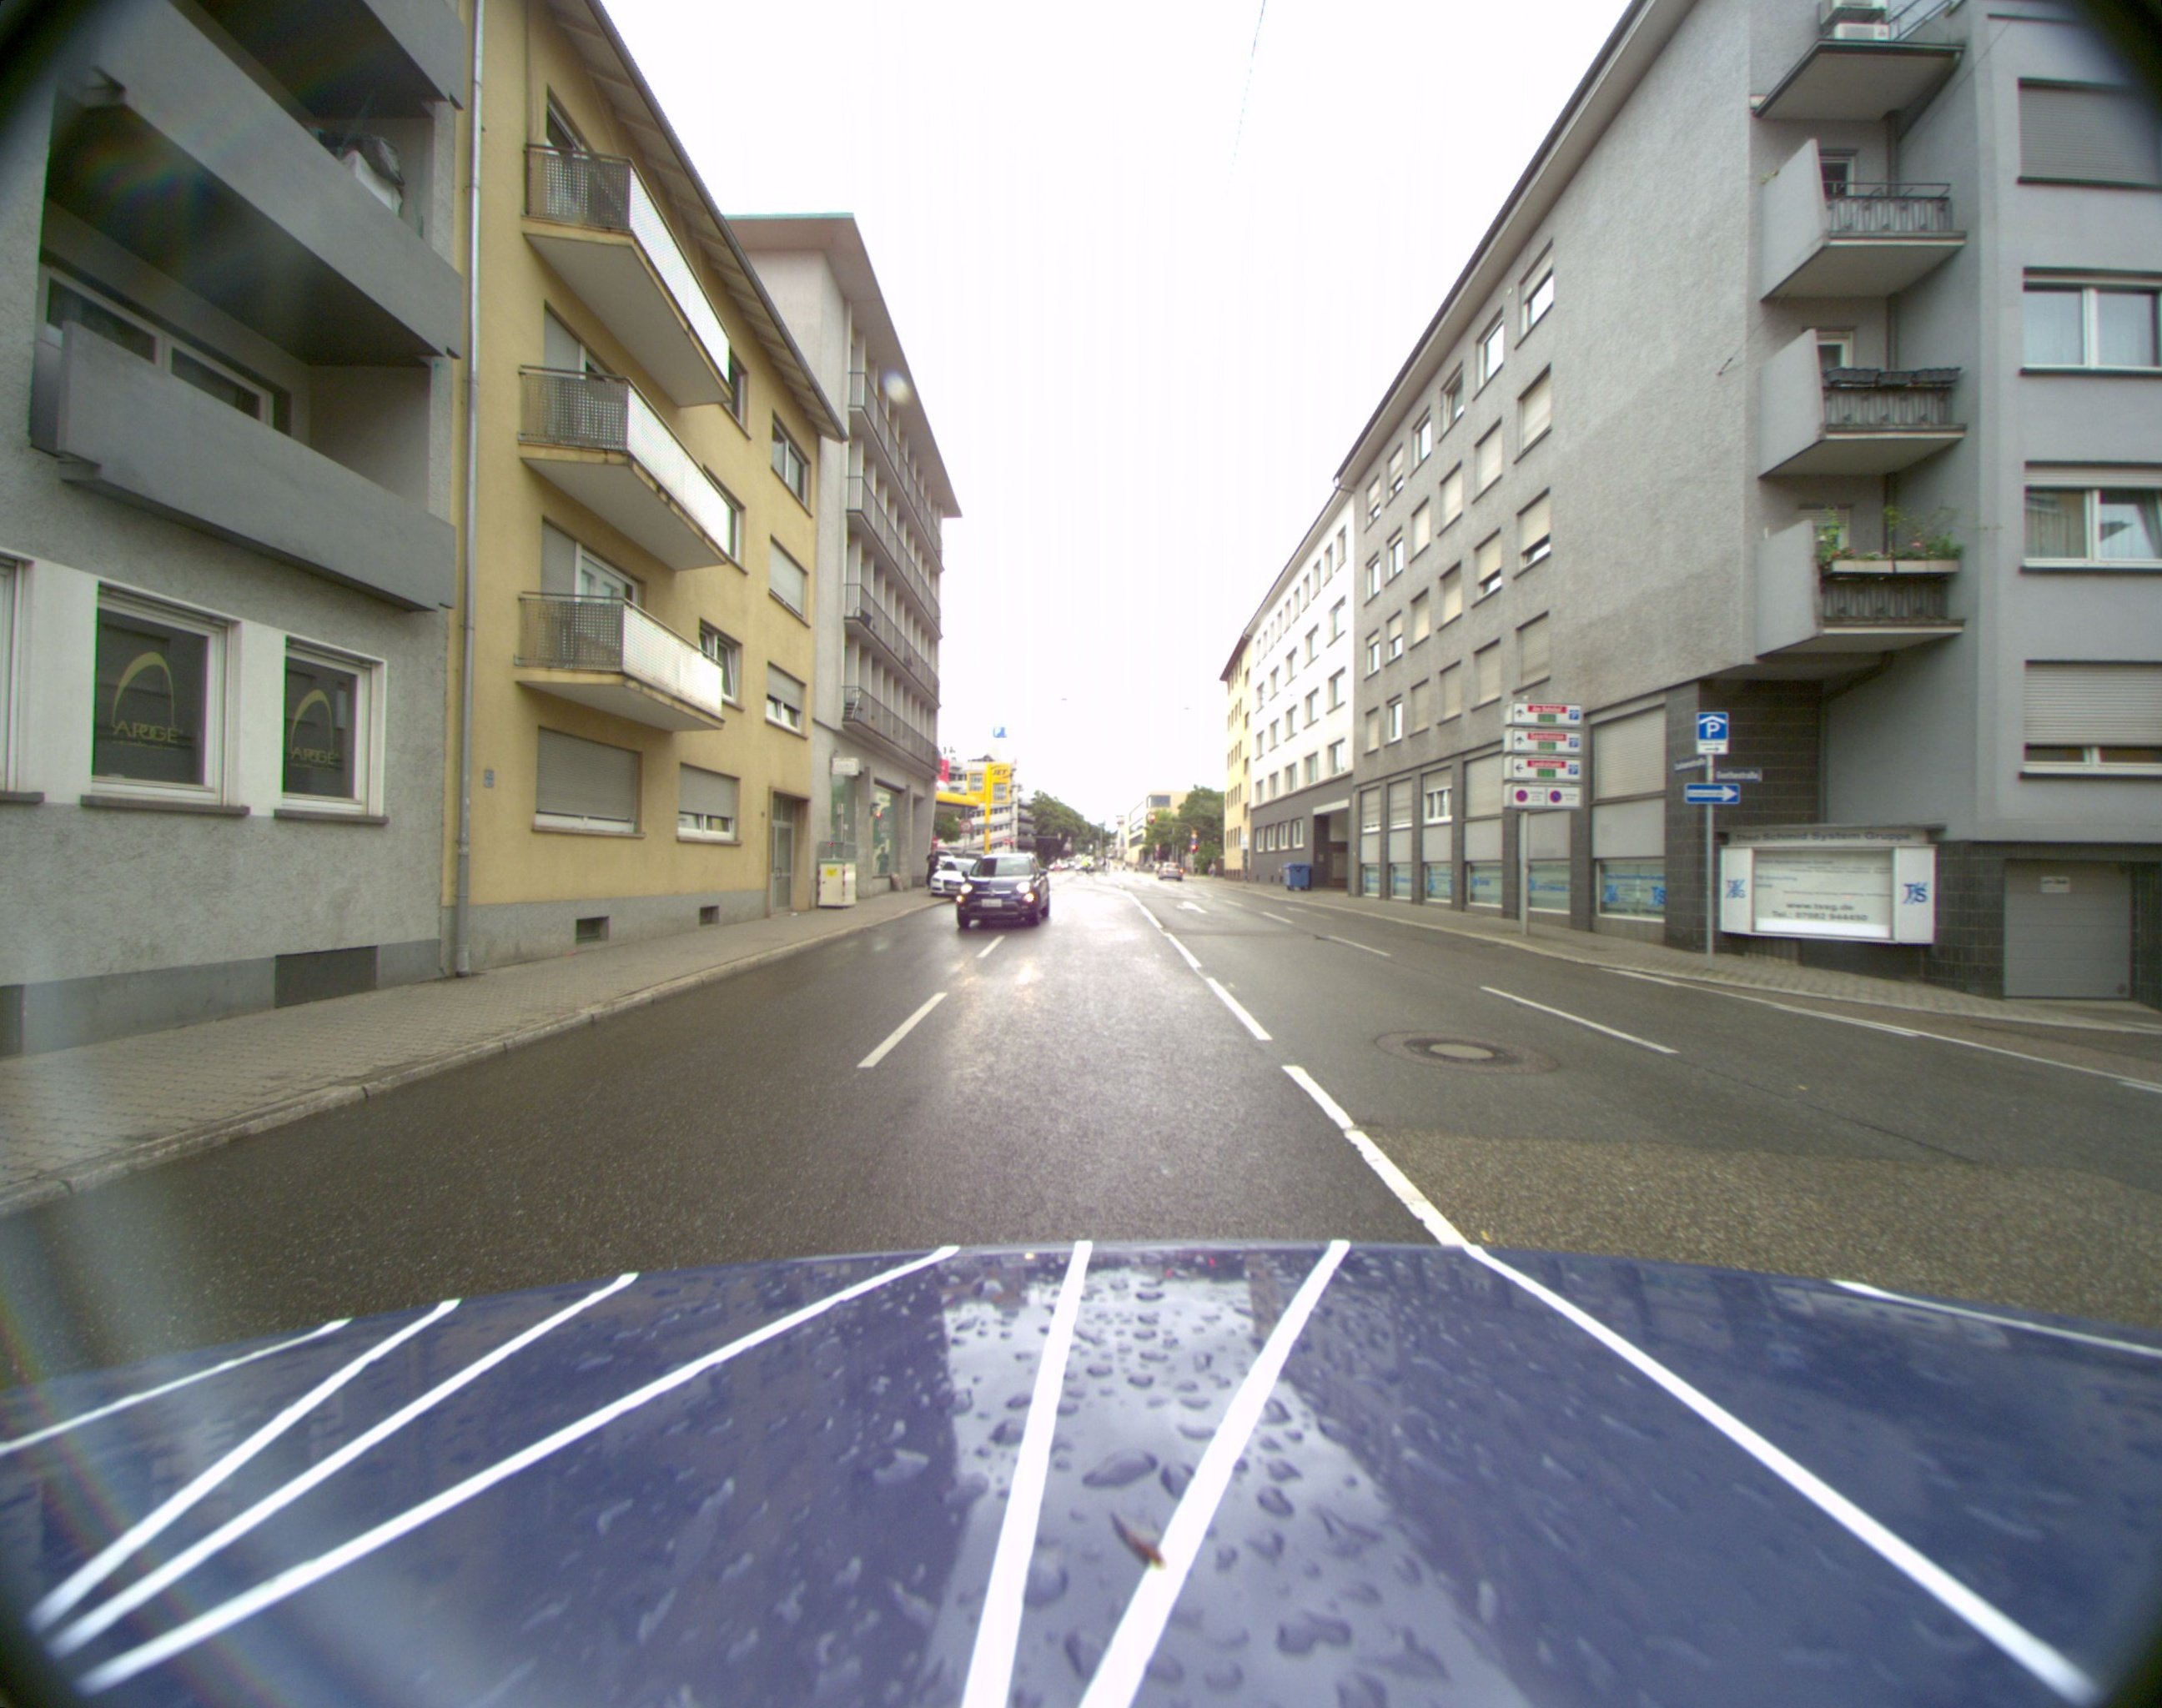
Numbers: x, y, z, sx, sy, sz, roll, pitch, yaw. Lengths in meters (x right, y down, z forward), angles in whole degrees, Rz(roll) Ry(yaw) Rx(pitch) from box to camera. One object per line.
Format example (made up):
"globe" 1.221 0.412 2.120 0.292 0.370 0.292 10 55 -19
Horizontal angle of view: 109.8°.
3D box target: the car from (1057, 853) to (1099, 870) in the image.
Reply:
"car" -0.282 0.724 74.585 3.996 1.499 1.738 1 1 2

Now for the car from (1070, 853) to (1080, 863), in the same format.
"car" -1.207 0.792 159.837 1.998 2.002 3.999 -2 1 0

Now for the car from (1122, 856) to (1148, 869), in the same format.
"car" 8.487 1.324 119.708 3.995 1.736 2.000 -2 1 5

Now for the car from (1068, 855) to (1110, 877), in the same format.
"car" 0.785 1.154 72.415 3.794 1.823 1.692 -3 0 2

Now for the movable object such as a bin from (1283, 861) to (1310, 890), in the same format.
"movable object such as a bin" 10.360 1.011 36.490 0.946 1.325 1.096 -3 1 1

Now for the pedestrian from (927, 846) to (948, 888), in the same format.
"pedestrian" -5.948 0.531 31.553 0.679 1.745 0.888 1 1 2

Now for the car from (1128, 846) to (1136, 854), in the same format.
"car" 12.916 -1.020 192.553 1.998 1.683 4.000 -2 1 2

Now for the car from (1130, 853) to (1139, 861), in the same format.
"car" 12.363 0.615 175.231 1.998 1.683 4.000 -2 1 2

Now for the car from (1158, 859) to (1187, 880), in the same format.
"car" 7.438 1.250 61.792 1.883 1.580 4.373 0 0 1

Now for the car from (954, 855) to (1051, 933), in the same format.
"car" -1.716 0.842 17.774 1.771 1.571 4.000 -1 0 1

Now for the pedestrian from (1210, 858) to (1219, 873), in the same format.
"pedestrian" 10.988 0.947 62.499 0.582 1.143 0.407 3 1 15

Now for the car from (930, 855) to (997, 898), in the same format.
"car" -4.354 0.794 28.730 1.803 1.427 4.166 1 0 1

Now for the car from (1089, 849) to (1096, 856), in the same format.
"car" 3.412 -0.565 225.919 1.998 2.002 3.999 -2 1 1

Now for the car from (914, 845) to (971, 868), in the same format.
"car" -9.825 0.206 53.627 3.989 1.465 1.775 -2 1 41

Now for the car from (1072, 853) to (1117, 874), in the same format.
"car" 1.242 0.848 69.047 3.929 1.706 1.902 -3 0 2

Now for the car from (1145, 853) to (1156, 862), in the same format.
"car" 15.505 0.668 169.713 1.998 1.863 3.999 -2 1 0
